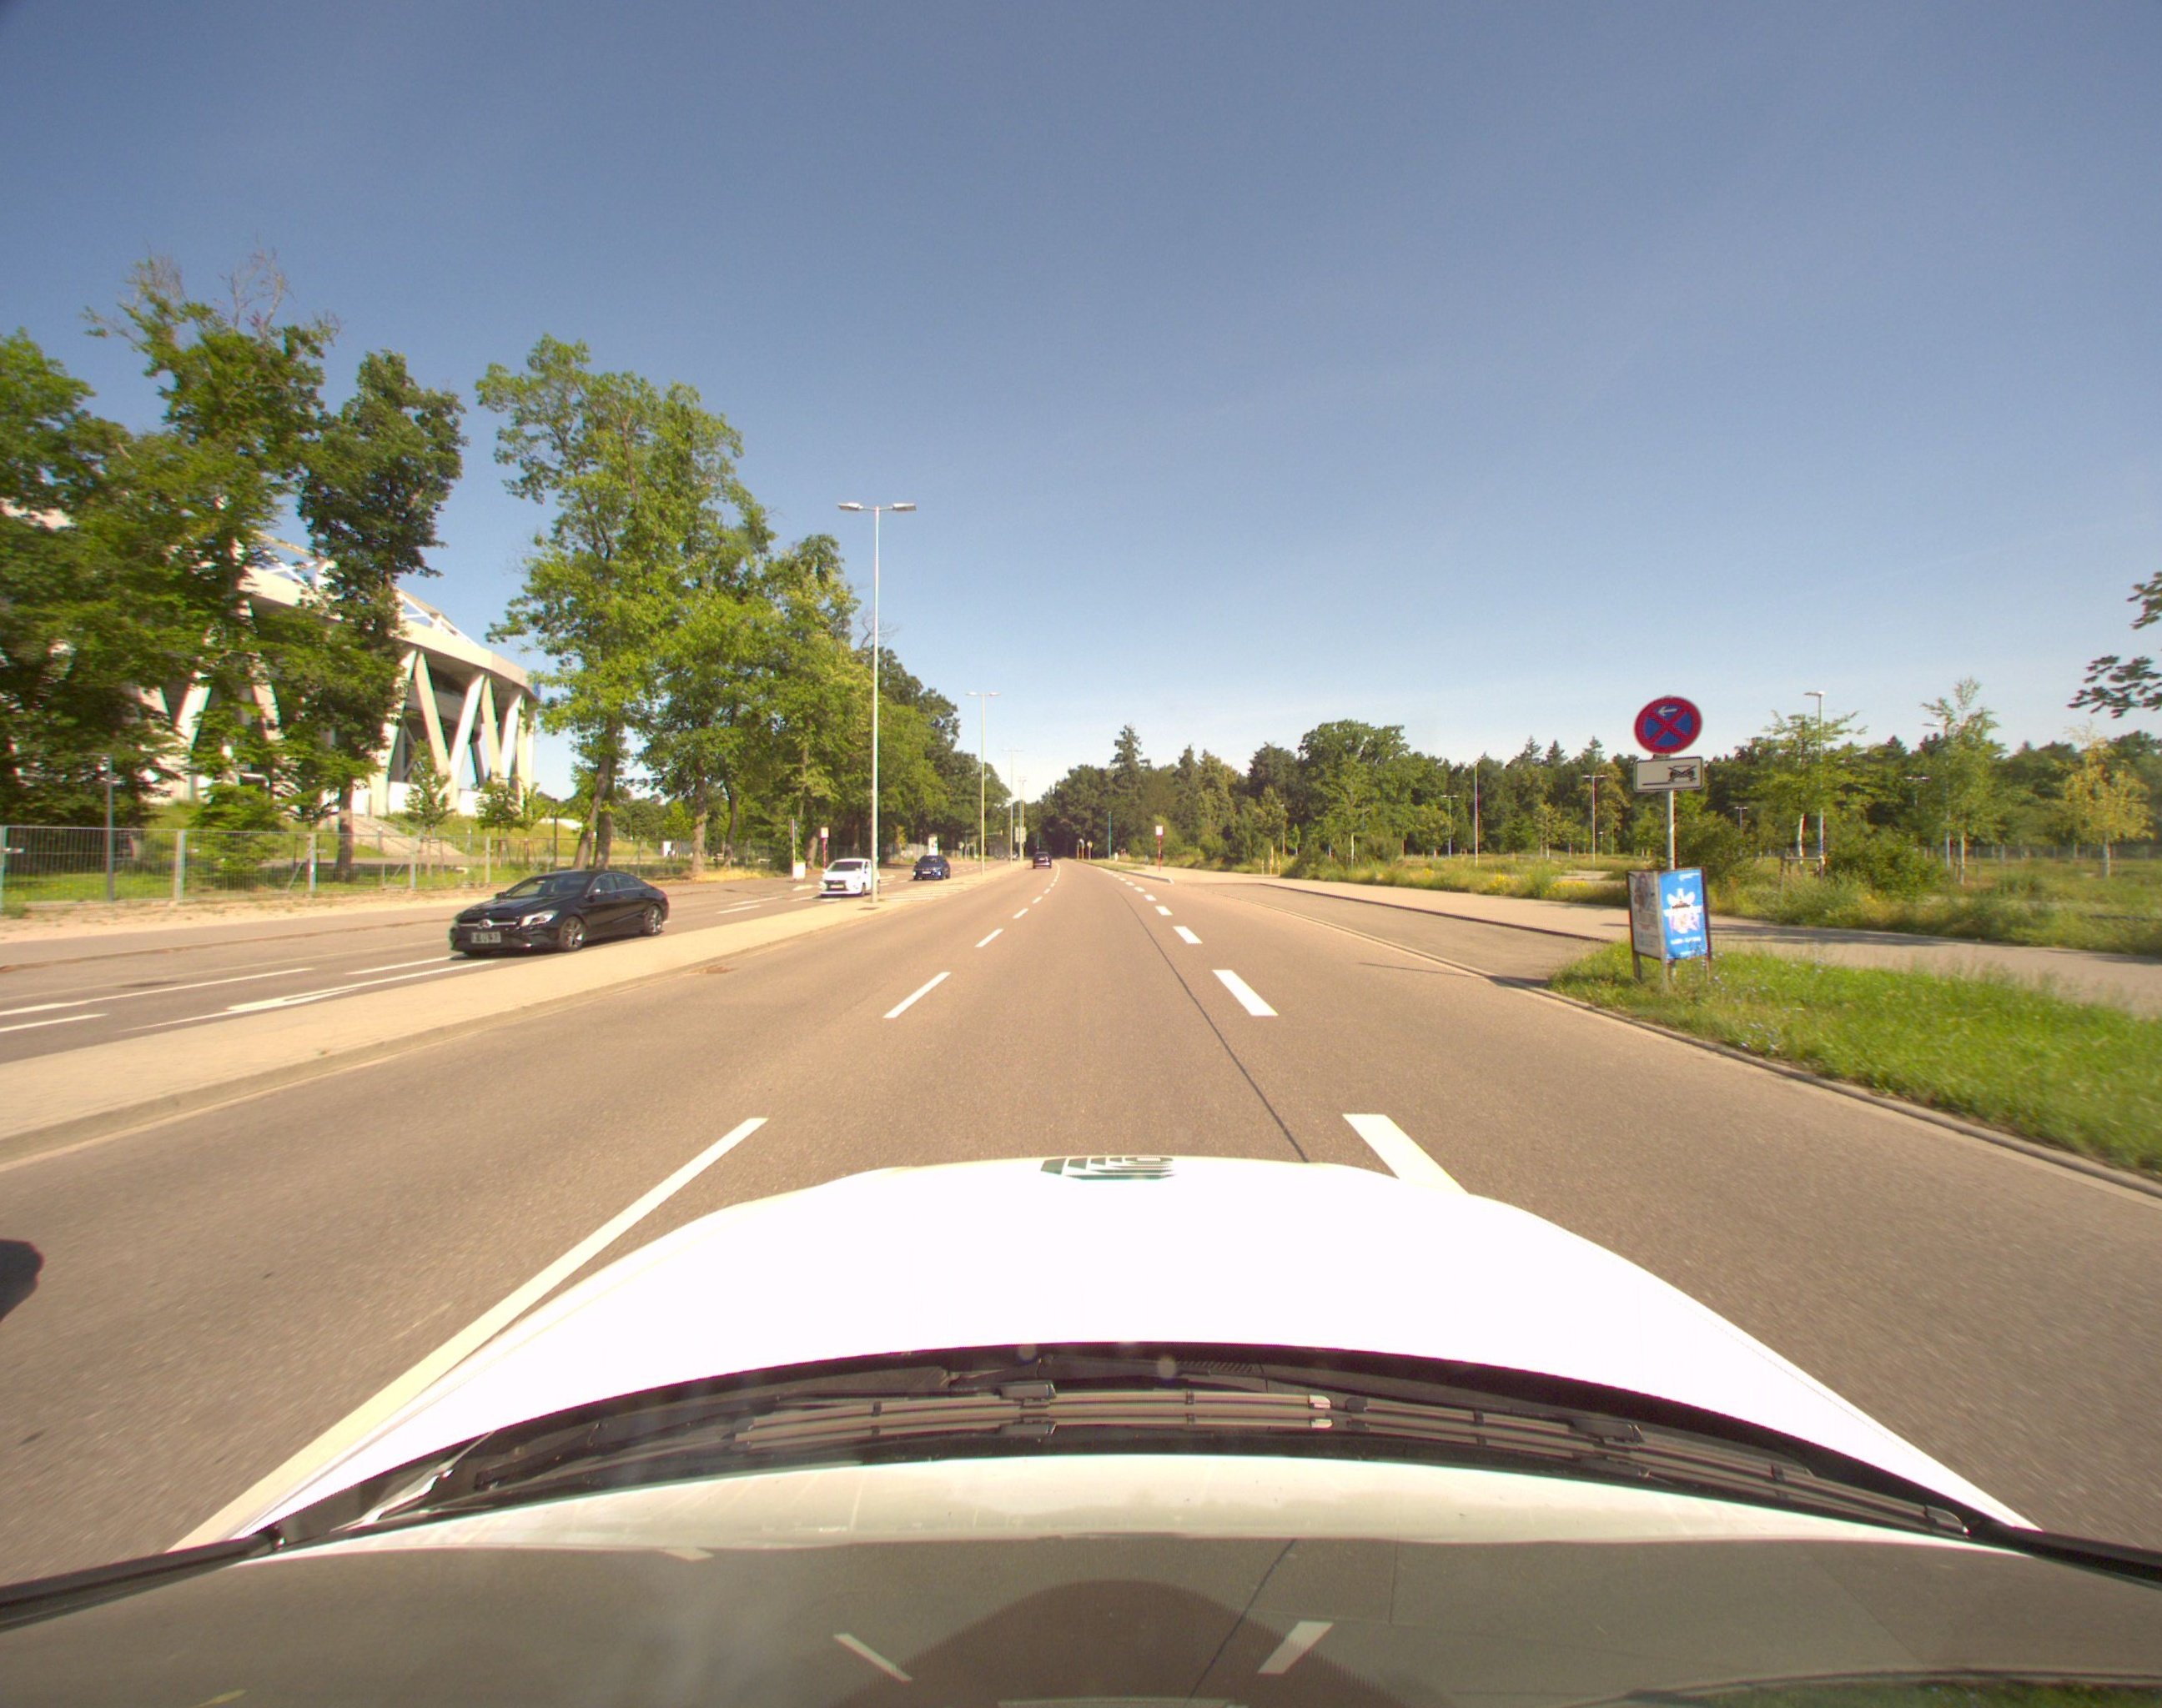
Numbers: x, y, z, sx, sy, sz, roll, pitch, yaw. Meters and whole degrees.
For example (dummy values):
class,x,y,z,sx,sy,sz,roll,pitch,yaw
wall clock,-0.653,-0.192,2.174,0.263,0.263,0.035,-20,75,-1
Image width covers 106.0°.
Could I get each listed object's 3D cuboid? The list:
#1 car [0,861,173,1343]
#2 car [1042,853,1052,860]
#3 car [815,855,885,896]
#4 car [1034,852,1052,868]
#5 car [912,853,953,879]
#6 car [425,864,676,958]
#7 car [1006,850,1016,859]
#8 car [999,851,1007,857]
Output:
class,x,y,z,sx,sy,sz,roll,pitch,yaw
car,-4.161,0.778,0.527,1.718,1.426,4.722,-1,0,2
car,-7.747,0.528,185.858,1.938,1.420,4.285,0,0,-5
car,-9.146,0.823,32.541,1.617,1.466,3.800,-2,0,0
car,-3.761,0.564,79.249,1.684,1.544,4.143,-1,0,-4
car,-9.158,0.695,50.497,1.748,1.486,3.946,-2,0,0
car,-9.608,0.945,15.235,1.804,1.388,4.164,-2,0,2
car,-14.461,0.093,168.439,1.836,1.932,4.625,-1,0,-2
car,-18.267,0.016,190.202,1.791,1.478,3.994,0,0,-4
